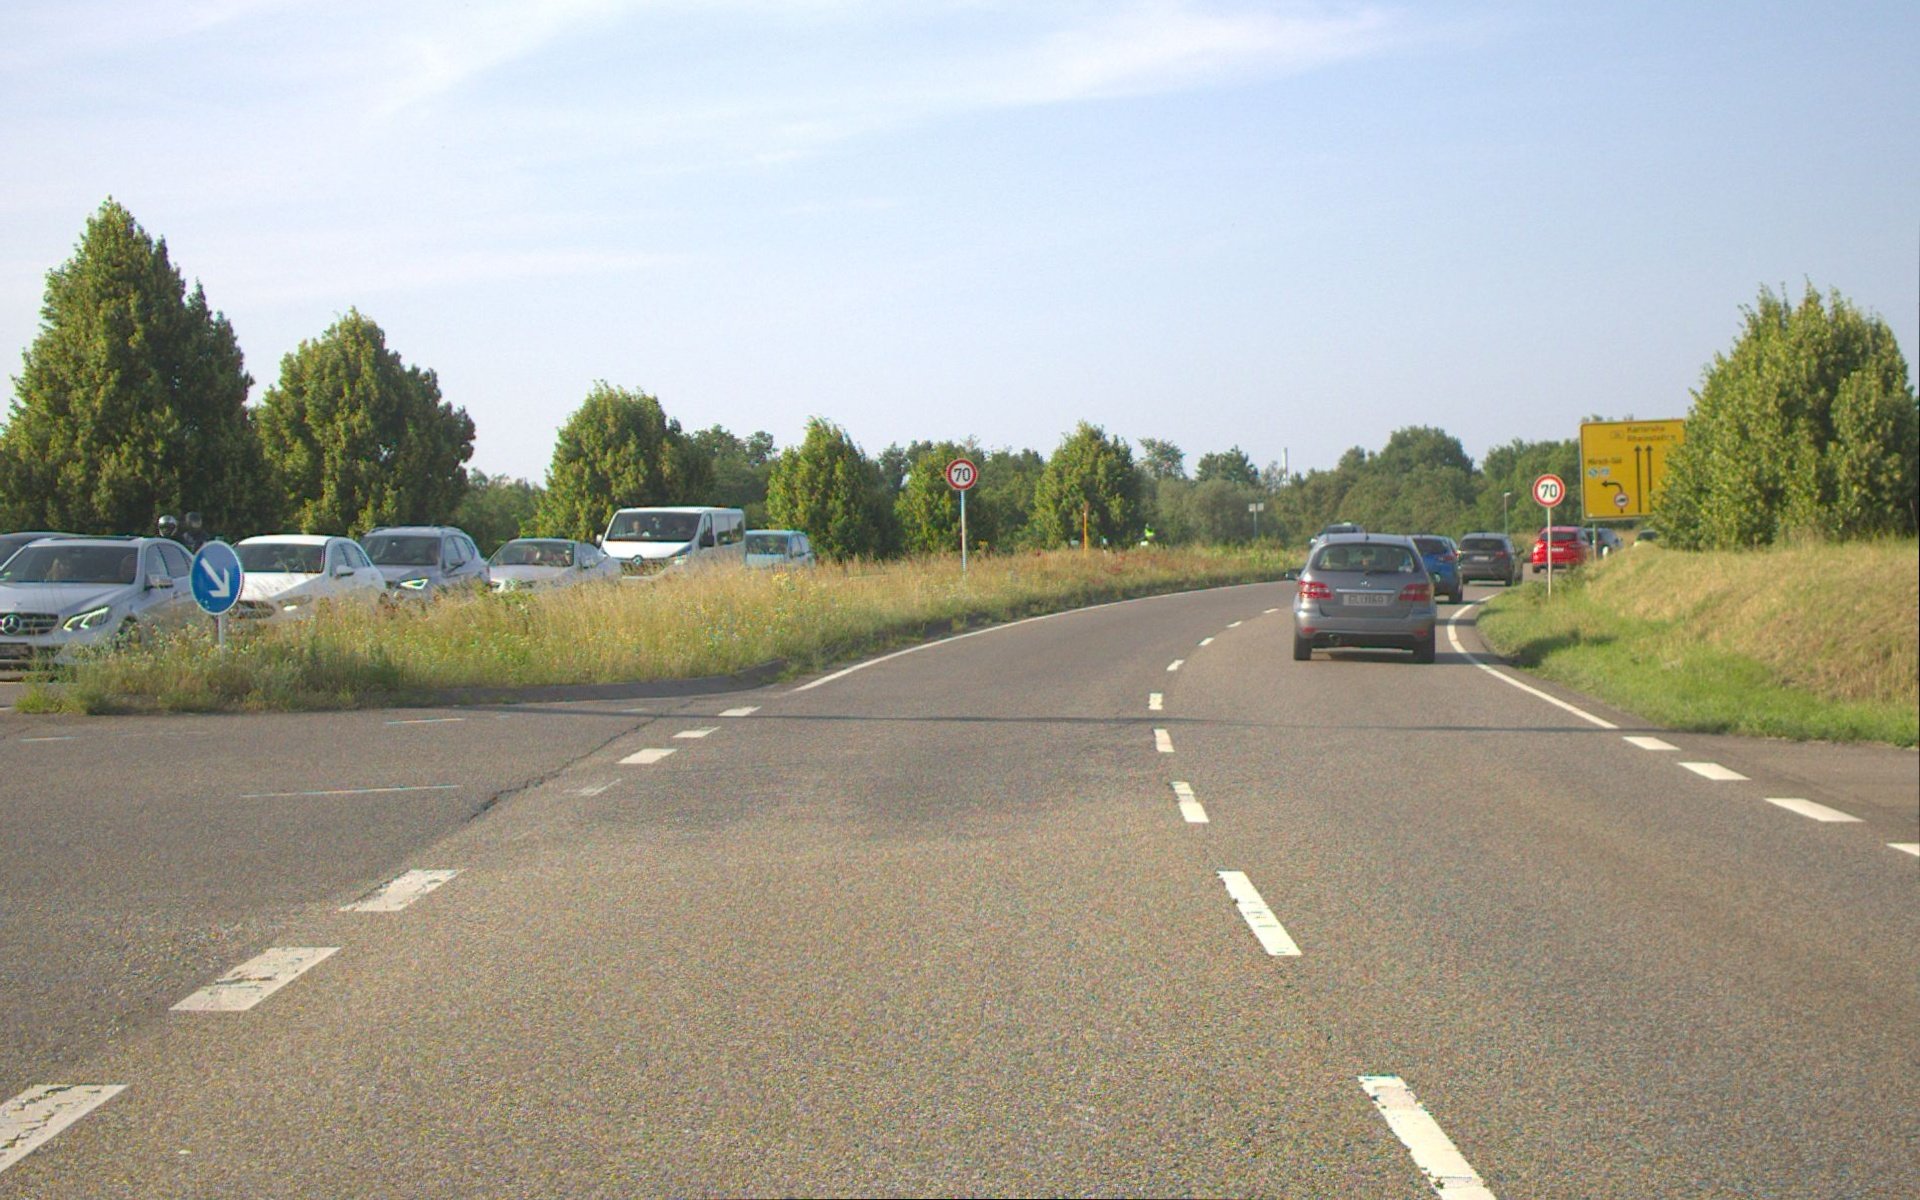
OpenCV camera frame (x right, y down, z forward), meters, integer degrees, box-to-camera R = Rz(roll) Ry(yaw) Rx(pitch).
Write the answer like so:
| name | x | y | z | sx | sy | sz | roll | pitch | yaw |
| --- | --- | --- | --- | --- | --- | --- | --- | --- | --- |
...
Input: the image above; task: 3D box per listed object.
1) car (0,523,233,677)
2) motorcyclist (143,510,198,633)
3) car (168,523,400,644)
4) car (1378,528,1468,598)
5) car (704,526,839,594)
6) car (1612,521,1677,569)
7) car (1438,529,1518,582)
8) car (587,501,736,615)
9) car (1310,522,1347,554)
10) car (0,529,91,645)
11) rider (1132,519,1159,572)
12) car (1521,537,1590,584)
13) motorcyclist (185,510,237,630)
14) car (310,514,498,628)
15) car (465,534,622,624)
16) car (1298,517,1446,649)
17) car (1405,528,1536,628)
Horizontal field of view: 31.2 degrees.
| name | x | y | z | sx | sy | sz | roll | pitch | yaw |
| --- | --- | --- | --- | --- | --- | --- | --- | --- | --- |
| car | -9.039 | -0.034 | 35.504 | 1.786 | 1.483 | 4.651 | -1 | 1 | 4 |
| motorcyclist | -11.328 | -0.414 | 49.340 | 0.662 | 1.741 | 0.605 | -1 | 1 | -3 |
| car | -8.419 | -0.231 | 43.172 | 1.786 | 1.428 | 4.308 | -1 | 1 | 4 |
| car | 10.231 | -0.834 | 75.815 | 1.773 | 1.487 | 3.983 | 0 | 1 | 11 |
| car | -3.987 | -0.865 | 73.306 | 1.787 | 1.381 | 4.049 | 0 | 1 | 13 |
| car | 27.126 | -2.163 | 136.187 | 1.911 | 1.794 | 4.274 | 0 | 0 | 19 |
| car | 14.483 | -1.221 | 95.915 | 1.916 | 1.411 | 3.793 | 0 | 0 | 13 |
| car | -5.597 | -0.804 | 64.983 | 1.926 | 2.071 | 4.242 | -1 | 1 | 7 |
| car | 16.567 | -2.786 | 154.347 | 1.406 | 1.397 | 3.421 | -1 | 1 | 10 |
| car | -12.680 | -0.180 | 44.108 | 1.786 | 1.428 | 4.051 | -1 | 1 | 4 |
| rider | 7.130 | -2.103 | 131.984 | 0.868 | 2.007 | 0.771 | 0 | 1 | 15 |
| car | 20.488 | -1.336 | 118.136 | 1.896 | 1.559 | 4.274 | 0 | 0 | 16 |
| motorcyclist | -11.396 | -0.458 | 52.300 | 0.662 | 1.810 | 0.605 | -1 | 1 | -3 |
| car | -7.943 | -0.433 | 49.443 | 1.786 | 1.563 | 4.051 | -1 | 1 | 4 |
| car | -6.692 | -0.359 | 55.600 | 1.786 | 1.381 | 4.051 | -1 | 1 | 4 |
| car | 5.295 | -0.197 | 43.912 | 1.785 | 1.600 | 4.194 | 0 | 0 | 8 |
| car | 8.364 | -0.371 | 56.075 | 1.811 | 1.560 | 4.528 | 0 | 1 | 12 |
